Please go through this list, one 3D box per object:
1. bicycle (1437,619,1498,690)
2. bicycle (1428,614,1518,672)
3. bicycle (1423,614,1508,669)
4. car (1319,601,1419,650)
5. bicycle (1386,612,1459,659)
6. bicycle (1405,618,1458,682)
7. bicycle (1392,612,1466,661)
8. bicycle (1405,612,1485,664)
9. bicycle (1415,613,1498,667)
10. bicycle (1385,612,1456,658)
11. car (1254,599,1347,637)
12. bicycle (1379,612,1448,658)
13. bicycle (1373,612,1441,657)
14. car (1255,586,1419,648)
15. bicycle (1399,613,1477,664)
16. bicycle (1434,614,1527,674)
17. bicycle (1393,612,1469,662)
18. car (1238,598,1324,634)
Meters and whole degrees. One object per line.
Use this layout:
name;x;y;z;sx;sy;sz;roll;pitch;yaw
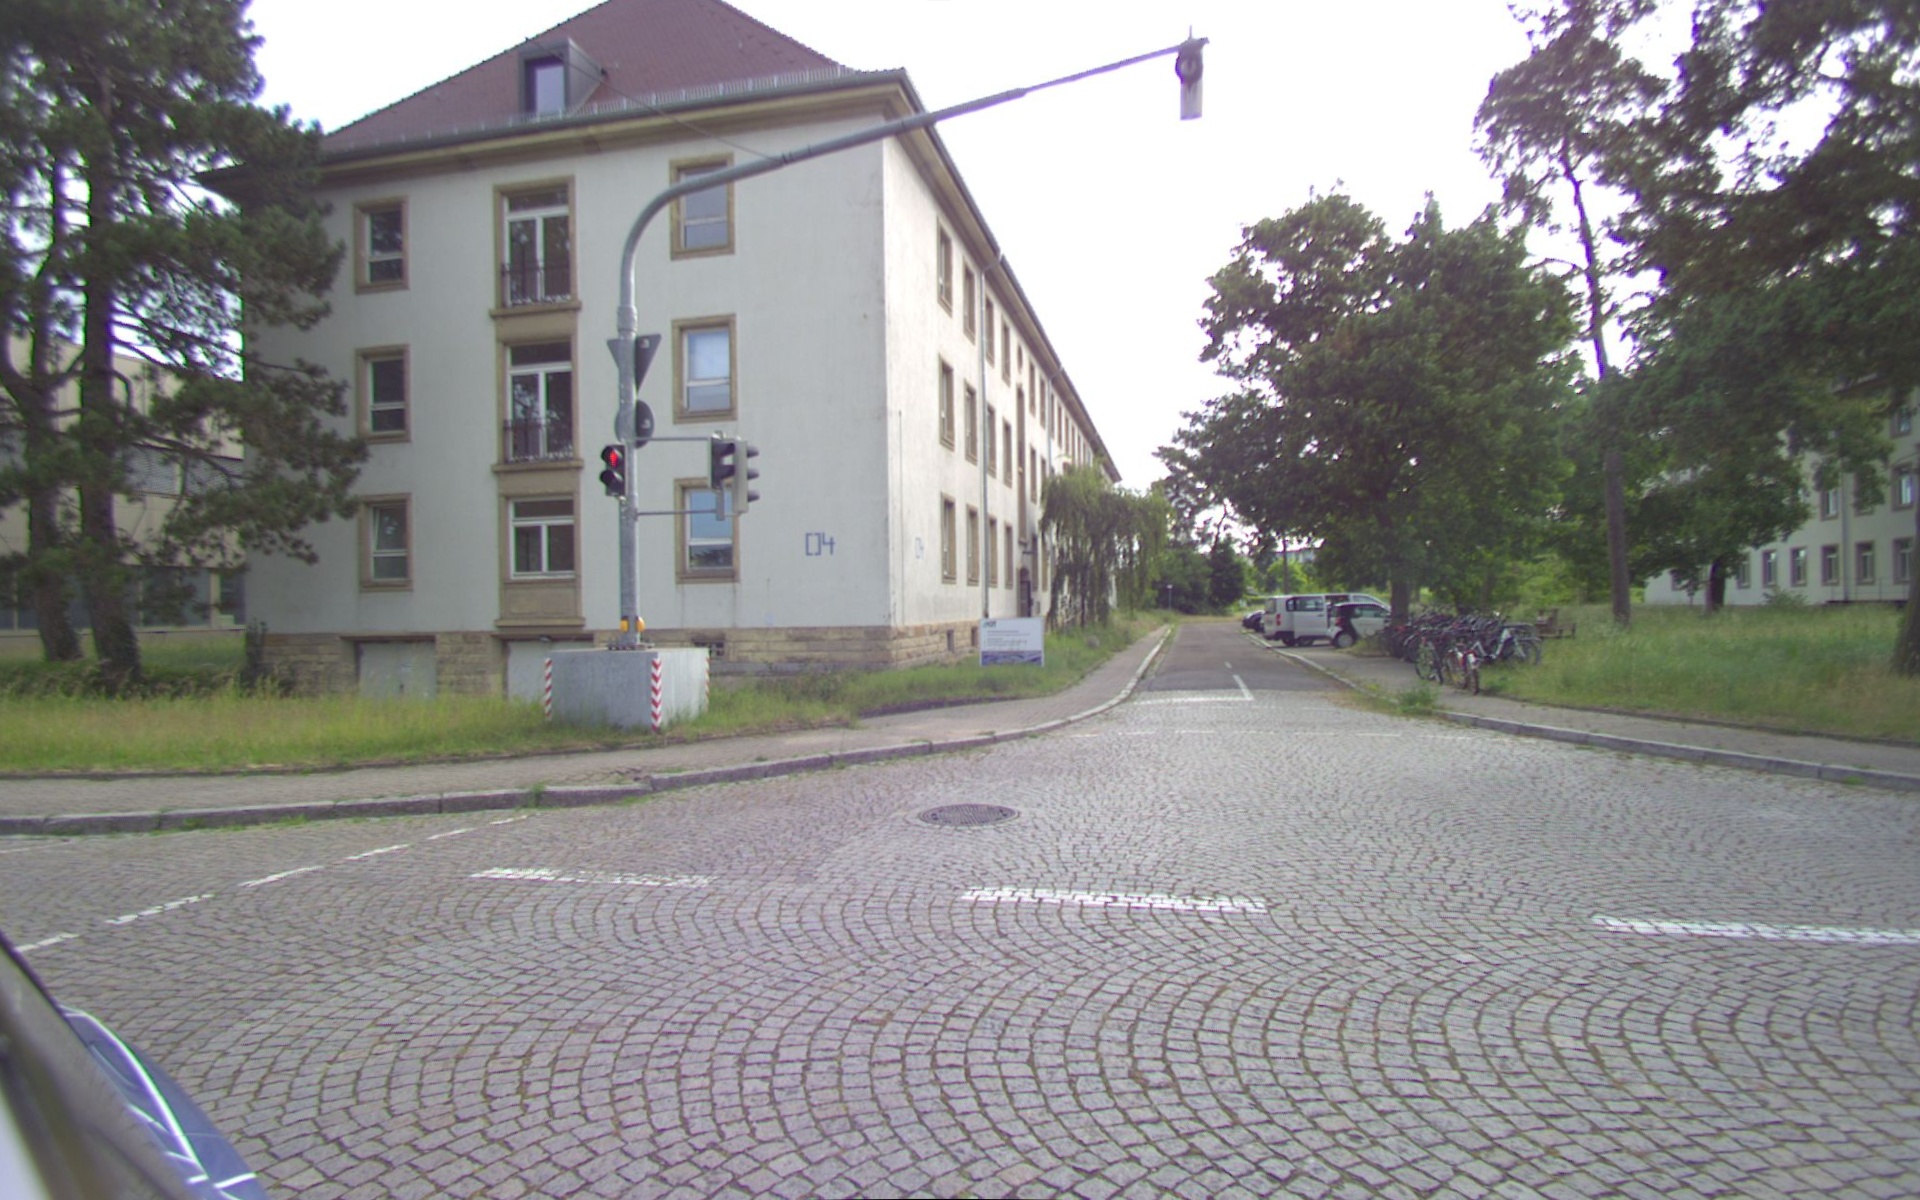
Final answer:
bicycle;8.358;0.879;16.719;0.493;1.082;1.411;-4;-1;12
bicycle;10.193;0.848;20.156;1.440;1.046;0.496;-4;-1;9
bicycle;10.538;0.855;21.132;1.440;1.046;0.496;-4;-1;9
car;13.554;0.838;33.661;2.745;1.426;1.586;-4;-1;13
bicycle;11.151;0.854;24.426;1.440;1.046;0.496;-4;-1;9
bicycle;8.522;0.887;18.324;0.493;1.046;1.411;-4;-1;12
bicycle;11.086;0.858;23.939;1.440;1.046;0.496;-4;-1;9
bicycle;10.717;0.838;22.397;1.440;1.046;0.496;-4;-1;9
bicycle;10.636;0.850;21.708;1.440;1.046;0.496;-4;-1;9
bicycle;11.322;0.856;24.925;1.440;1.046;0.496;-4;-1;9
car;17.016;0.890;50.721;4.041;1.733;1.857;-1;1;5
bicycle;11.387;0.872;25.443;1.440;1.046;0.496;-4;-1;9
bicycle;11.436;0.879;25.917;1.440;1.046;0.496;-4;-1;9
car;13.716;0.640;37.047;5.099;1.931;2.036;-3;-1;0
bicycle;10.786;0.869;22.859;1.440;1.046;0.496;-4;-1;9
bicycle;9.963;0.832;19.397;1.439;1.046;0.497;-4;-1;6
bicycle;10.850;0.860;23.348;1.440;1.046;0.496;-4;-1;9
car;17.092;0.865;53.980;4.041;1.780;1.828;-1;1;5
